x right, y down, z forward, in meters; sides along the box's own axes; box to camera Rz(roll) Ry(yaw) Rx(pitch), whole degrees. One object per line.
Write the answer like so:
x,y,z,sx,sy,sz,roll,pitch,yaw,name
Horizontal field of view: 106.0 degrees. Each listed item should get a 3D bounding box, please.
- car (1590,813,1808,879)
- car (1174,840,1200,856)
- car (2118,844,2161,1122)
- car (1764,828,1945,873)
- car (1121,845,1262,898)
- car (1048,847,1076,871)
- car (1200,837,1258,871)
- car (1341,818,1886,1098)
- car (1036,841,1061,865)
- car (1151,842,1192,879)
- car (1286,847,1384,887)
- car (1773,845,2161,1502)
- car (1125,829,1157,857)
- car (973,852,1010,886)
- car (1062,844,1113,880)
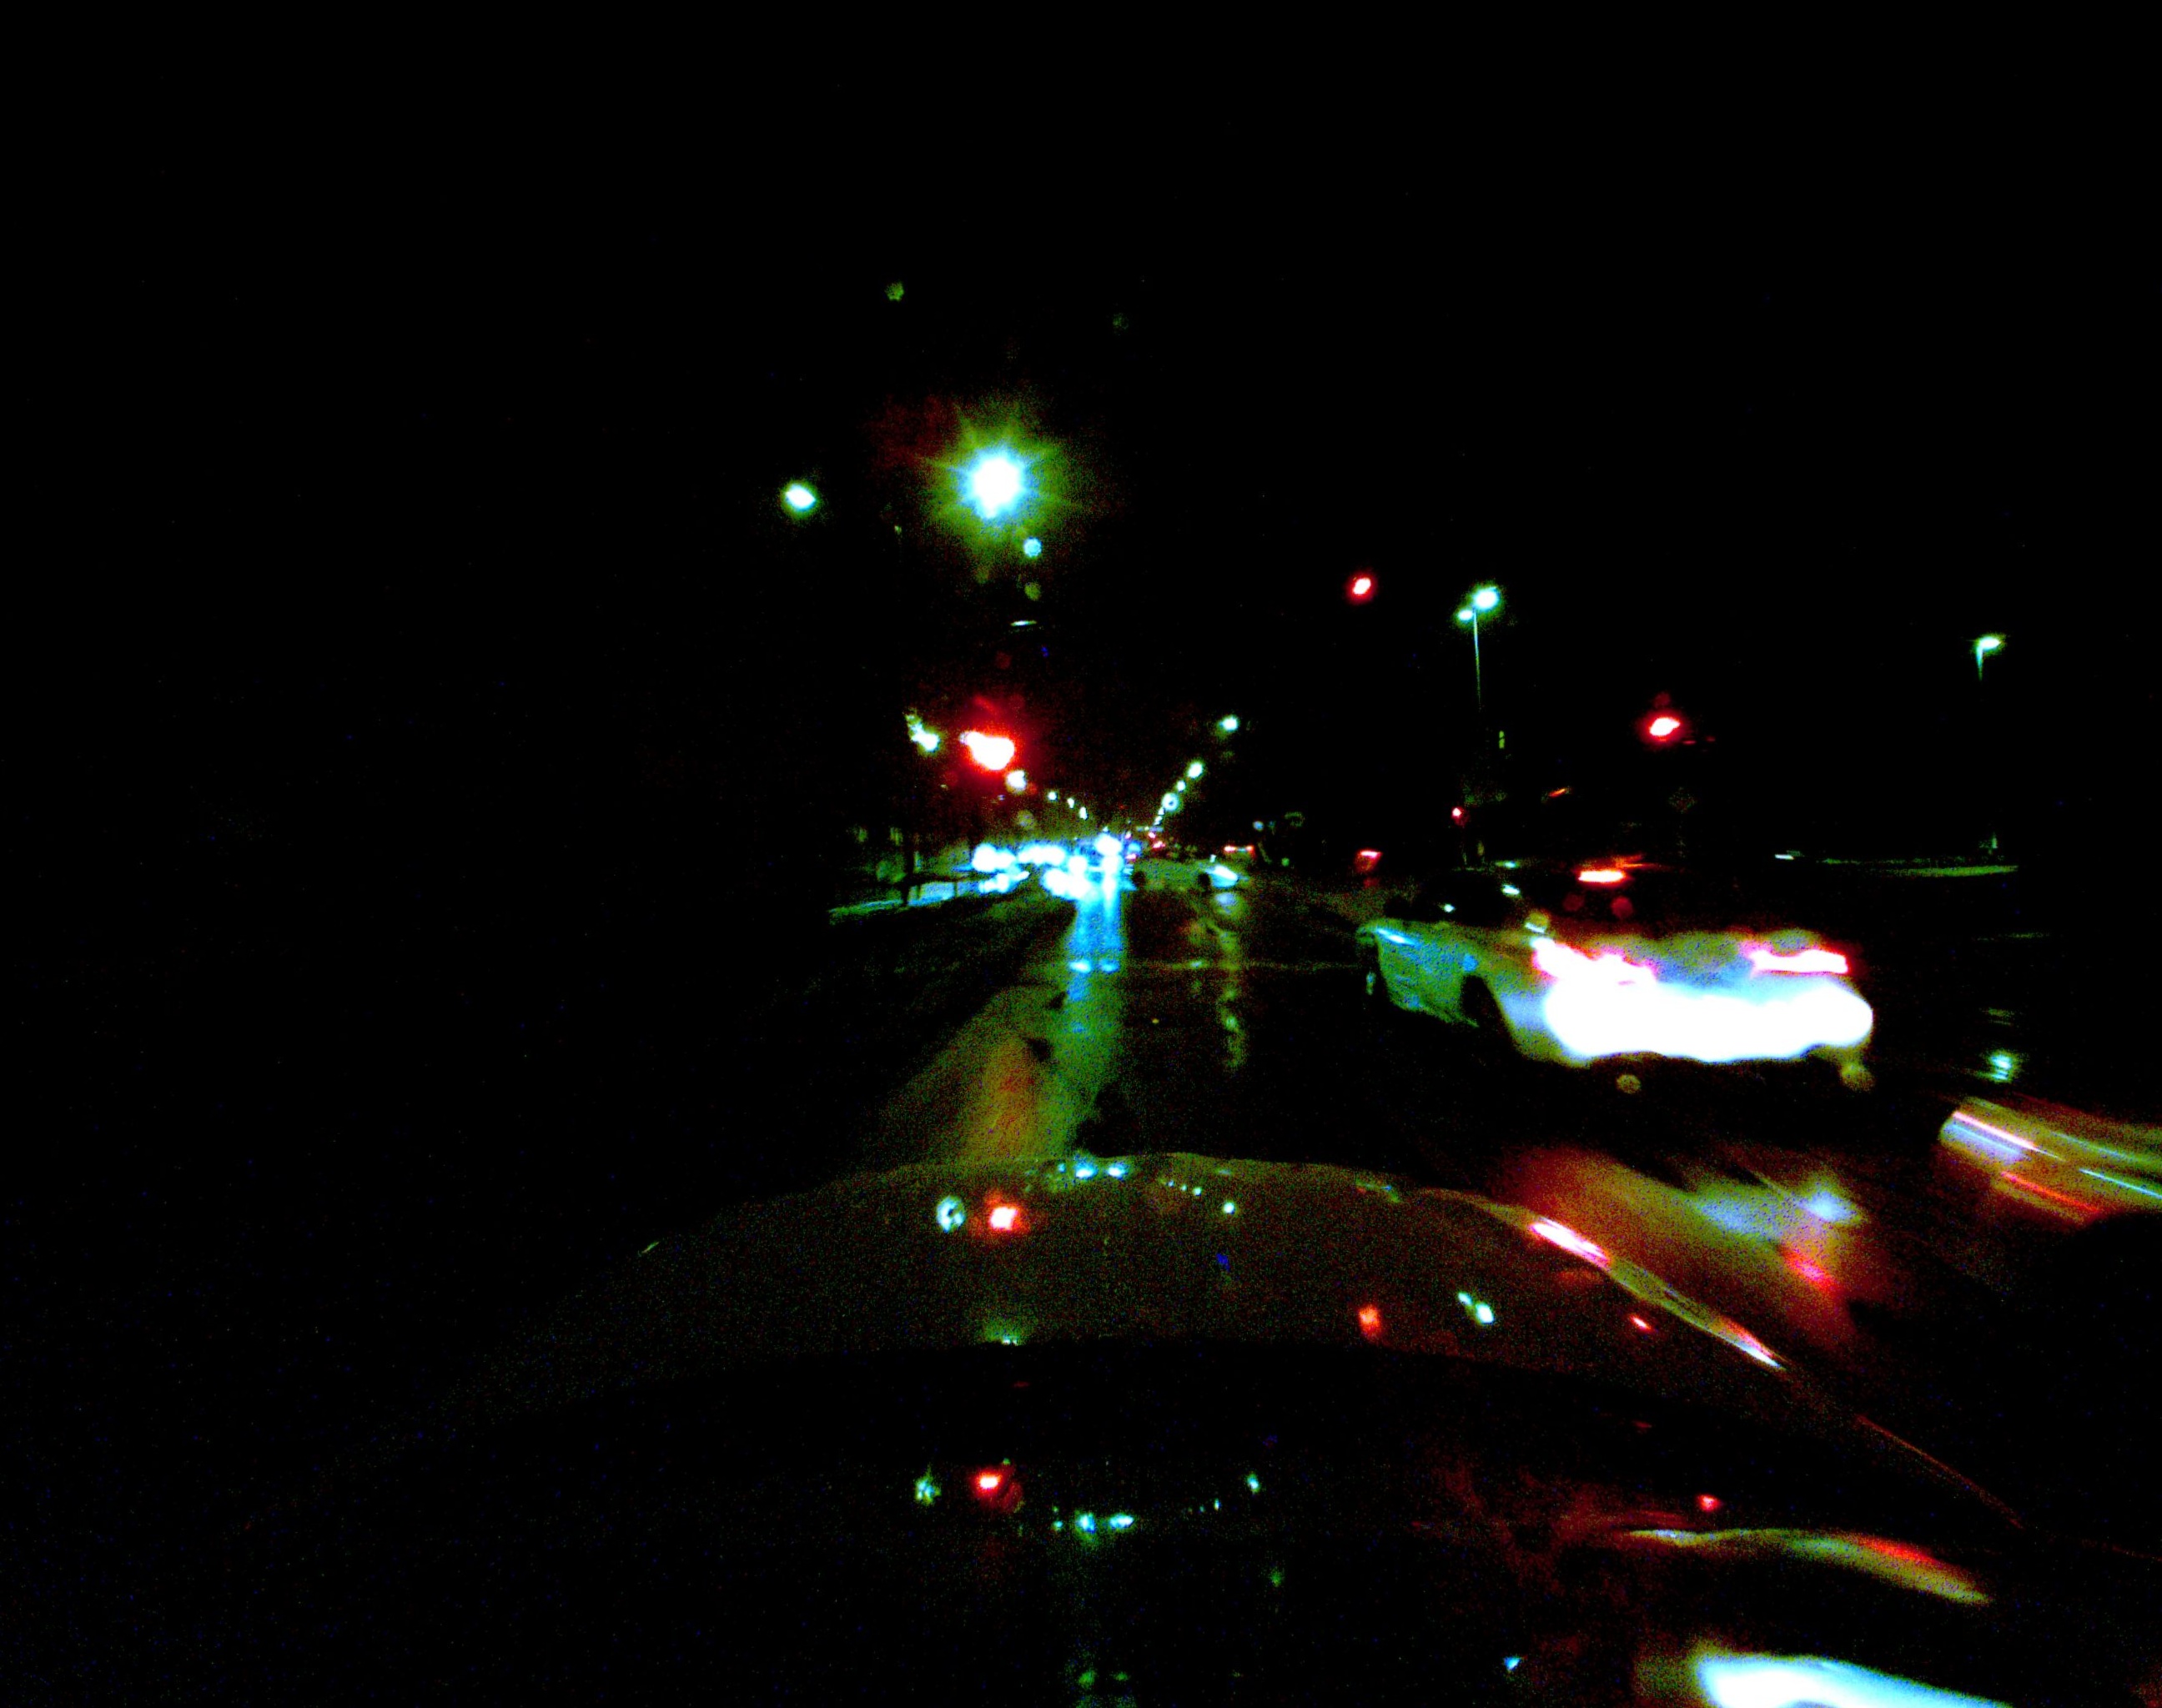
17.834,-0.205,23.705,4.799,1.769,1.839,-1,-1,5,car
10.326,-0.561,79.601,2.083,1.545,4.309,-1,0,2,car
6.349,0.634,2.266,1.713,1.446,4.166,-3,0,3,car
29.654,-0.127,31.387,4.819,1.590,1.859,-1,-1,11,car
3.687,0.573,27.633,4.371,1.649,1.848,-1,-1,39,car
-1.344,0.354,56.938,1.897,1.618,4.510,-1,0,-2,car
9.263,0.020,51.270,2.041,2.014,4.287,-1,0,-13,car
3.572,0.574,6.610,1.713,1.446,4.387,-3,0,3,car
-2.834,-0.097,72.171,1.690,2.014,3.574,-1,0,6,car
5.226,0.378,47.503,2.030,2.014,4.309,-1,0,2,car
12.121,0.625,38.889,4.255,1.785,2.056,-1,-1,23,car
3.178,0.696,0.743,1.713,1.446,4.166,-1,0,3,car
4.981,-0.872,68.600,2.432,2.194,5.081,-1,0,2,car
-4.897,0.786,44.204,1.718,1.734,3.751,-1,0,-10,car
0.253,0.408,40.402,1.833,1.671,4.449,-1,0,-9,car
